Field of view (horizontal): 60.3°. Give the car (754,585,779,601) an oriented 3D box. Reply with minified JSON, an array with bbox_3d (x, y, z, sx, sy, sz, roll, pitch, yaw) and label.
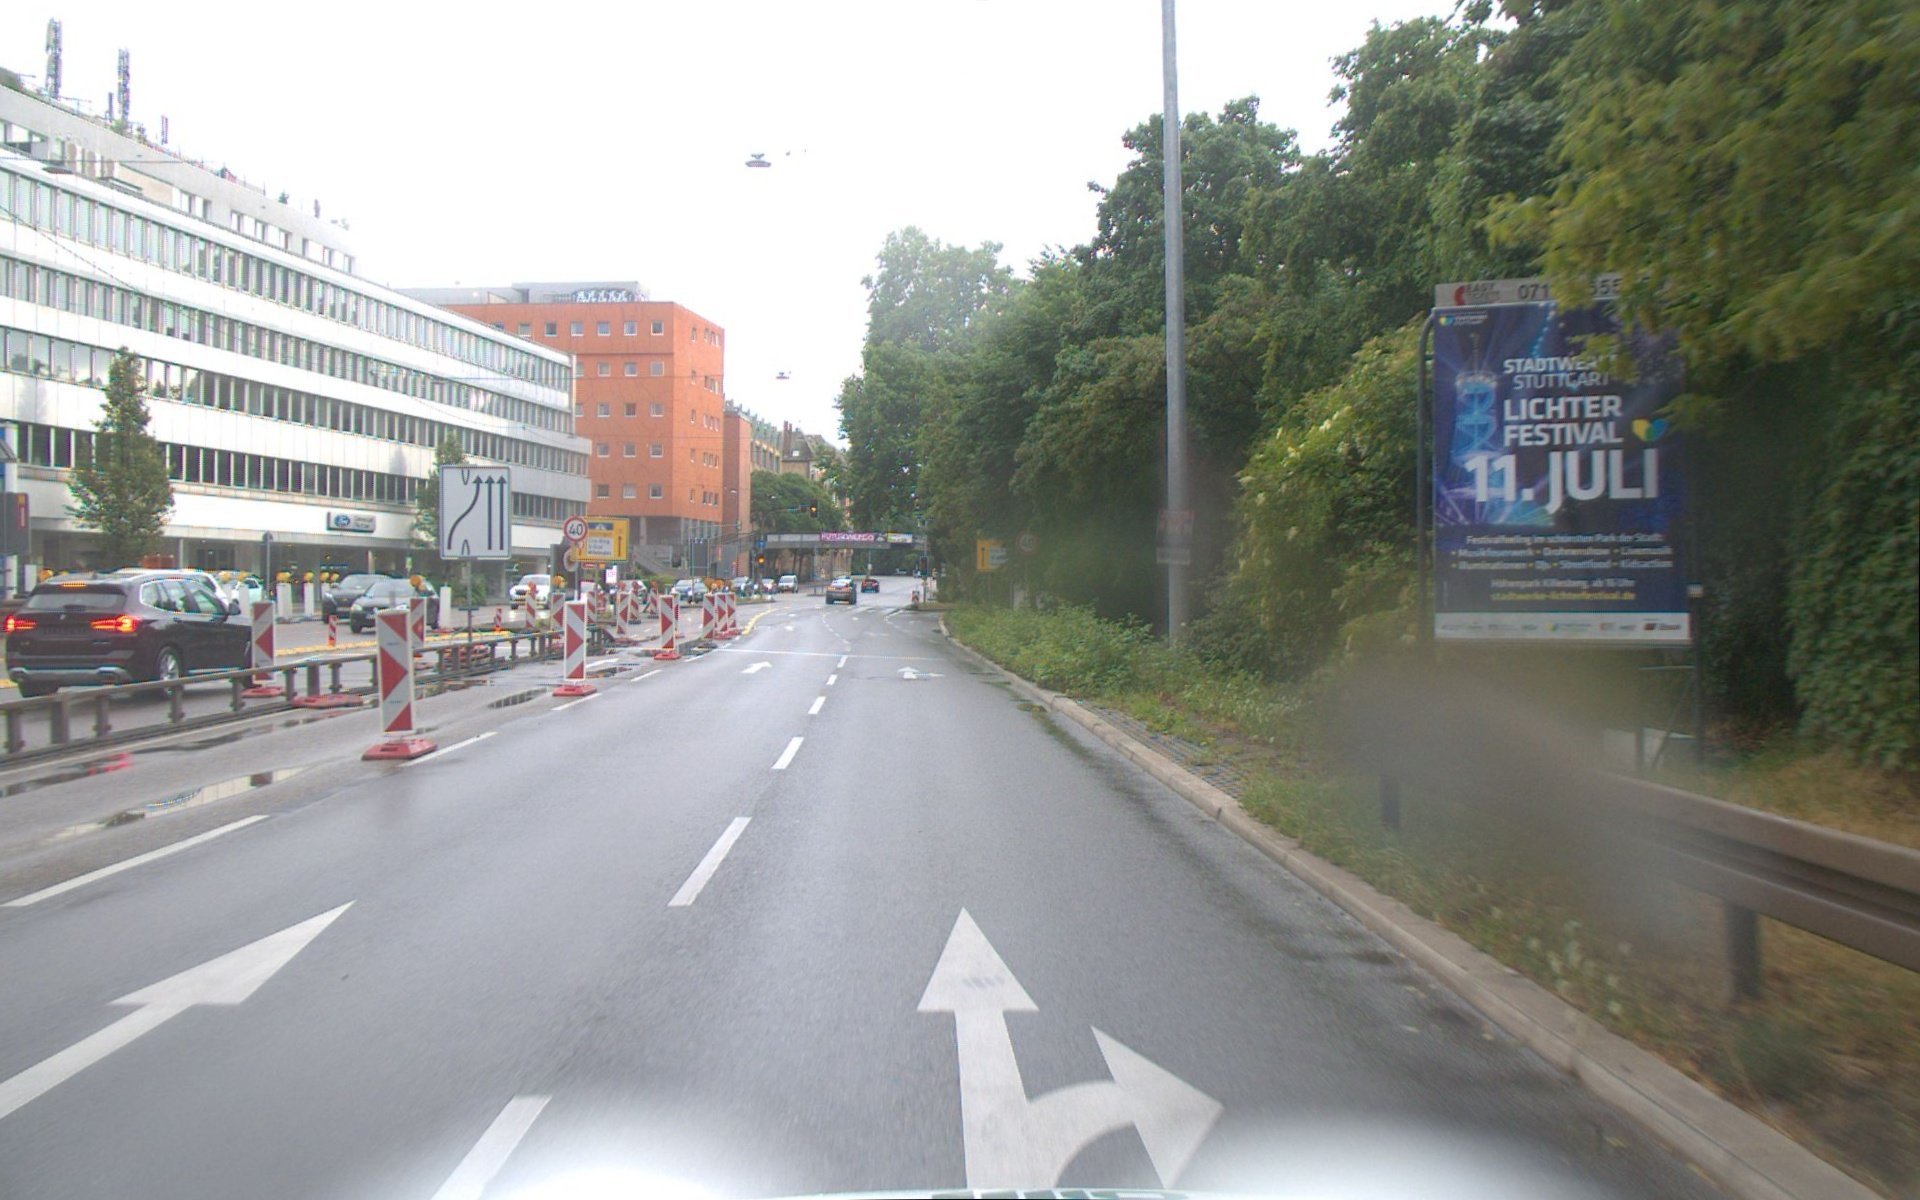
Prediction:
[{"bbox_3d":[-18.485,-0.684,158.273,1.792,1.528,4.374,-1,0,1],"label":"car"}]

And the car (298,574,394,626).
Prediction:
[{"bbox_3d":[-19.374,-0.034,52.367,1.676,1.563,4.076,-1,1,-3],"label":"car"}]

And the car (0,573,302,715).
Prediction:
[{"bbox_3d":[-11.089,0.509,22.865,1.907,1.625,4.672,3,1,2],"label":"car"}]

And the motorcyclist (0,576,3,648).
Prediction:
[{"bbox_3d":[-18.822,0.243,31.734,0.576,1.387,0.561,-1,1,-3],"label":"motorcyclist"}]

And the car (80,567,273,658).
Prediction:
[{"bbox_3d":[-15.892,0.218,33.826,1.899,1.719,4.578,0,1,-2],"label":"car"}]

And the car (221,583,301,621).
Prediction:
[{"bbox_3d":[-29.585,0.083,70.091,1.618,1.562,3.757,-1,0,3],"label":"car"}]

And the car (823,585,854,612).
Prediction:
[{"bbox_3d":[-8.904,-0.139,121.579,2.078,1.765,4.197,3,1,-3],"label":"car"}]

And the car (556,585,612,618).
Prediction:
[{"bbox_3d":[-16.843,0.060,74.206,1.701,1.428,4.287,1,0,-3],"label":"car"}]

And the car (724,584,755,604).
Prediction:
[{"bbox_3d":[-19.234,-0.518,144.560,1.806,1.768,4.607,0,0,4],"label":"car"}]

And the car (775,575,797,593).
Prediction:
[{"bbox_3d":[-18.119,-1.624,172.437,1.698,1.817,4.302,-1,0,1],"label":"car"}]

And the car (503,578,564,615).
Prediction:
[{"bbox_3d":[-20.671,-0.194,80.389,1.940,1.737,4.829,0,0,-3],"label":"car"}]

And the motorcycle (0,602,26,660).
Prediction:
[{"bbox_3d":[-18.891,0.615,31.952,0.567,1.121,2.027,-1,0,-1],"label":"motorcycle"}]

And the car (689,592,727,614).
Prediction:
[{"bbox_3d":[-16.734,0.170,109.996,1.653,1.378,4.117,-1,0,4],"label":"car"}]

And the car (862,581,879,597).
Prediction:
[{"bbox_3d":[-9.805,-1.247,181.468,1.727,1.726,3.705,-1,0,0],"label":"car"}]

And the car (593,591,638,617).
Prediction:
[{"bbox_3d":[-21.167,0.267,101.879,1.715,1.540,4.002,0,0,3],"label":"car"}]

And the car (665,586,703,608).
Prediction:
[{"bbox_3d":[-20.274,-0.224,121.721,1.770,1.585,4.303,0,0,4],"label":"car"}]

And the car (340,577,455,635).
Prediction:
[{"bbox_3d":[-15.884,0.139,46.922,1.919,1.547,4.298,0,1,-2],"label":"car"}]

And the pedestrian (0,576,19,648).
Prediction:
[{"bbox_3d":[-18.837,0.227,32.297,0.576,1.387,0.561,-1,1,-3],"label":"pedestrian"}]

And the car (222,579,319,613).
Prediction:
[{"bbox_3d":[-35.665,-0.197,85.632,4.338,1.680,1.830,-1,0,-37],"label":"car"}]
